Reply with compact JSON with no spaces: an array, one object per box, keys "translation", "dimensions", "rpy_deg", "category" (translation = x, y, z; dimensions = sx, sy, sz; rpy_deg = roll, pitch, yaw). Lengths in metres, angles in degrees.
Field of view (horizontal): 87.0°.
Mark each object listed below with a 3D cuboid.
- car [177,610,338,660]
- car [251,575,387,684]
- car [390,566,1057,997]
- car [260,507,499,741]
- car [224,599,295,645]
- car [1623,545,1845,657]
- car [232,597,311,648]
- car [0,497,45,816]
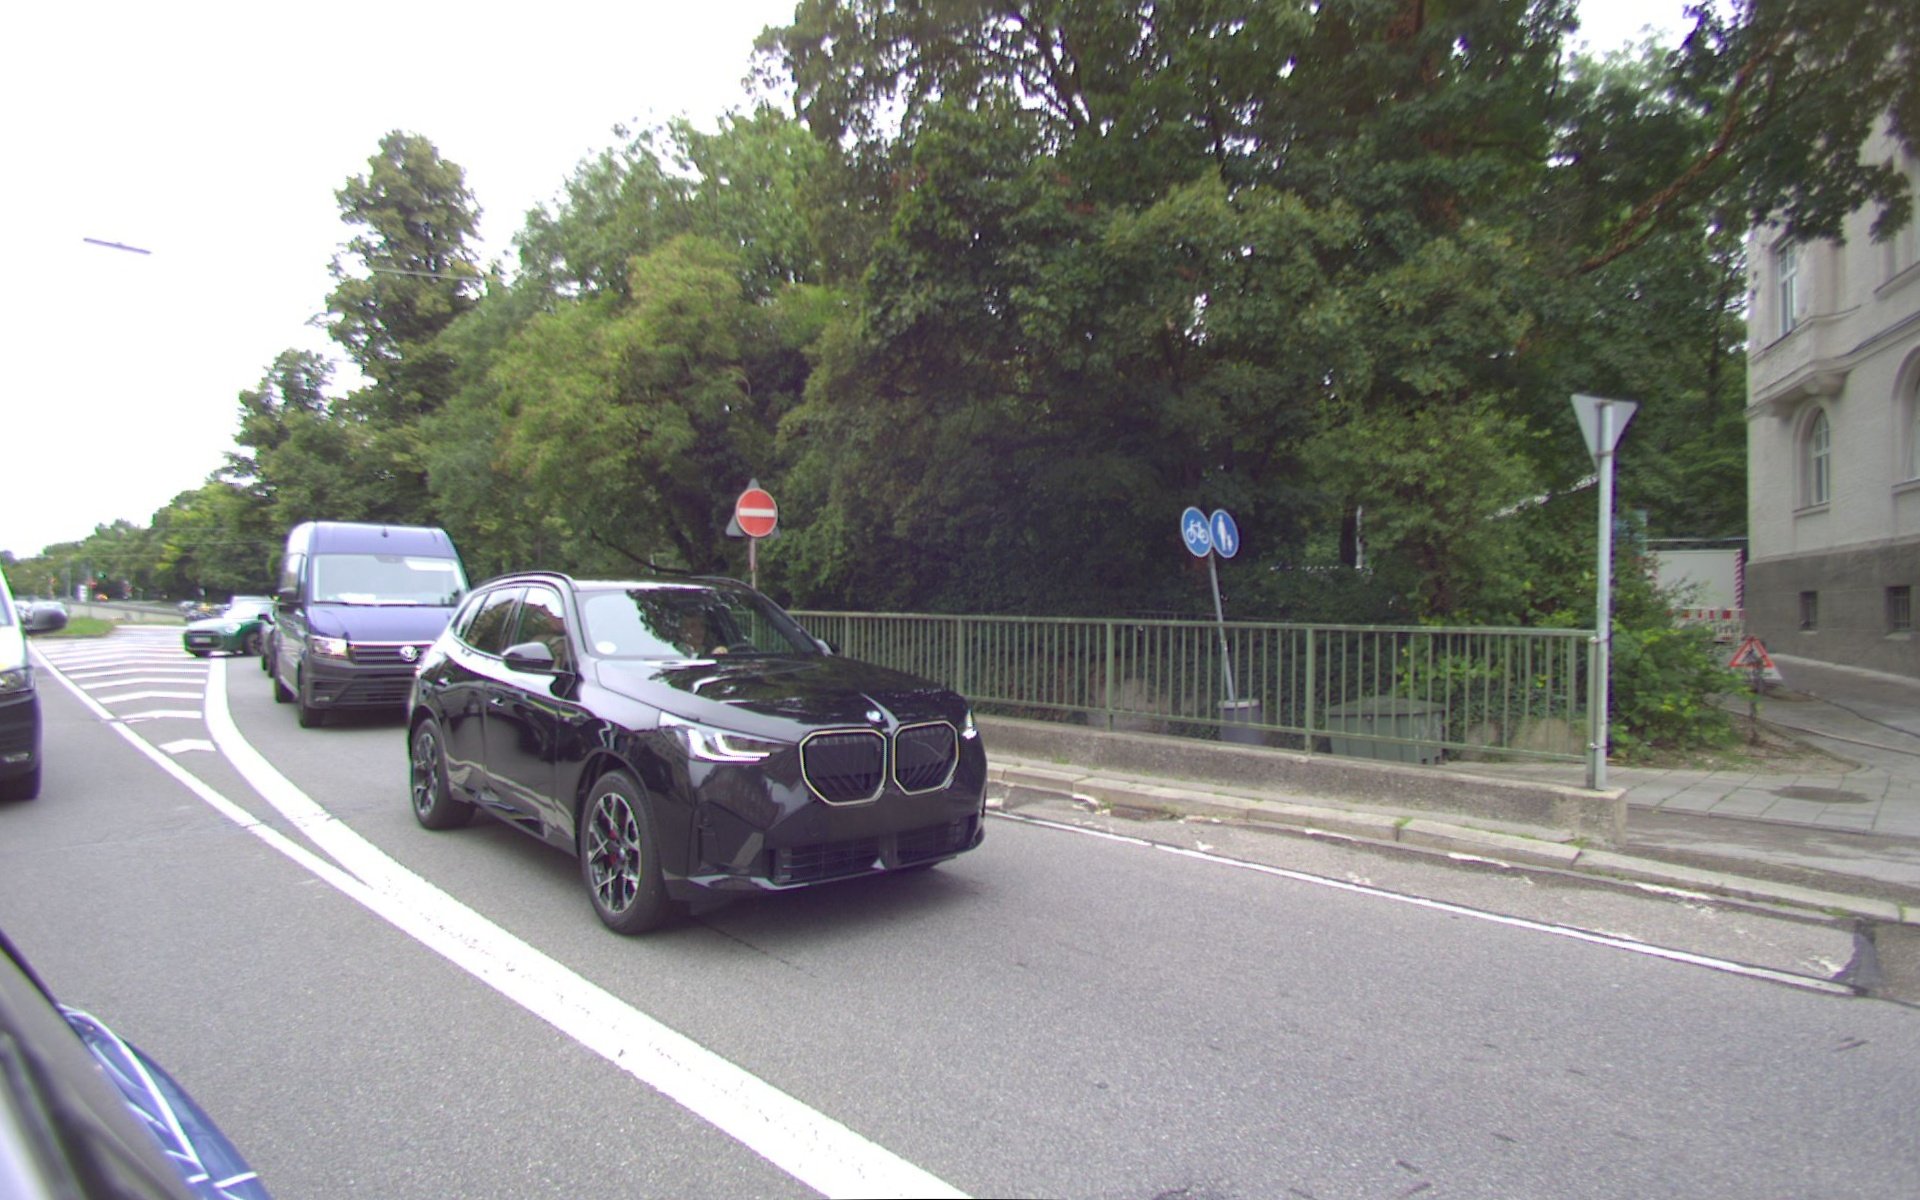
[{"translation":[-18.707,0.898,27.145],"dimensions":[1.480,1.223,3.601],"rpy_deg":[0,0,9],"category":"car"},{"translation":[-13.501,0.536,21.145],"dimensions":[1.975,1.951,5.819],"rpy_deg":[-1,0,-36],"category":"car"},{"translation":[-1.680,0.674,5.929],"dimensions":[1.894,1.577,4.298],"rpy_deg":[1,-1,-43],"category":"car"},{"translation":[-8.224,0.239,13.949],"dimensions":[1.975,2.510,6.245],"rpy_deg":[0,0,-38],"category":"car"},{"translation":[-29.348,0.879,42.333],"dimensions":[2.280,1.742,5.226],"rpy_deg":[-1,0,-36],"category":"car"},{"translation":[23.401,0.046,30.866],"dimensions":[4.761,3.198,2.472],"rpy_deg":[0,-1,16],"category":"car"},{"translation":[-24.242,0.747,35.533],"dimensions":[2.071,1.602,5.581],"rpy_deg":[-1,0,-36],"category":"car"},{"translation":[-8.875,0.416,8.125],"dimensions":[5.633,2.114,1.802],"rpy_deg":[-1,0,43],"category":"car"}]
